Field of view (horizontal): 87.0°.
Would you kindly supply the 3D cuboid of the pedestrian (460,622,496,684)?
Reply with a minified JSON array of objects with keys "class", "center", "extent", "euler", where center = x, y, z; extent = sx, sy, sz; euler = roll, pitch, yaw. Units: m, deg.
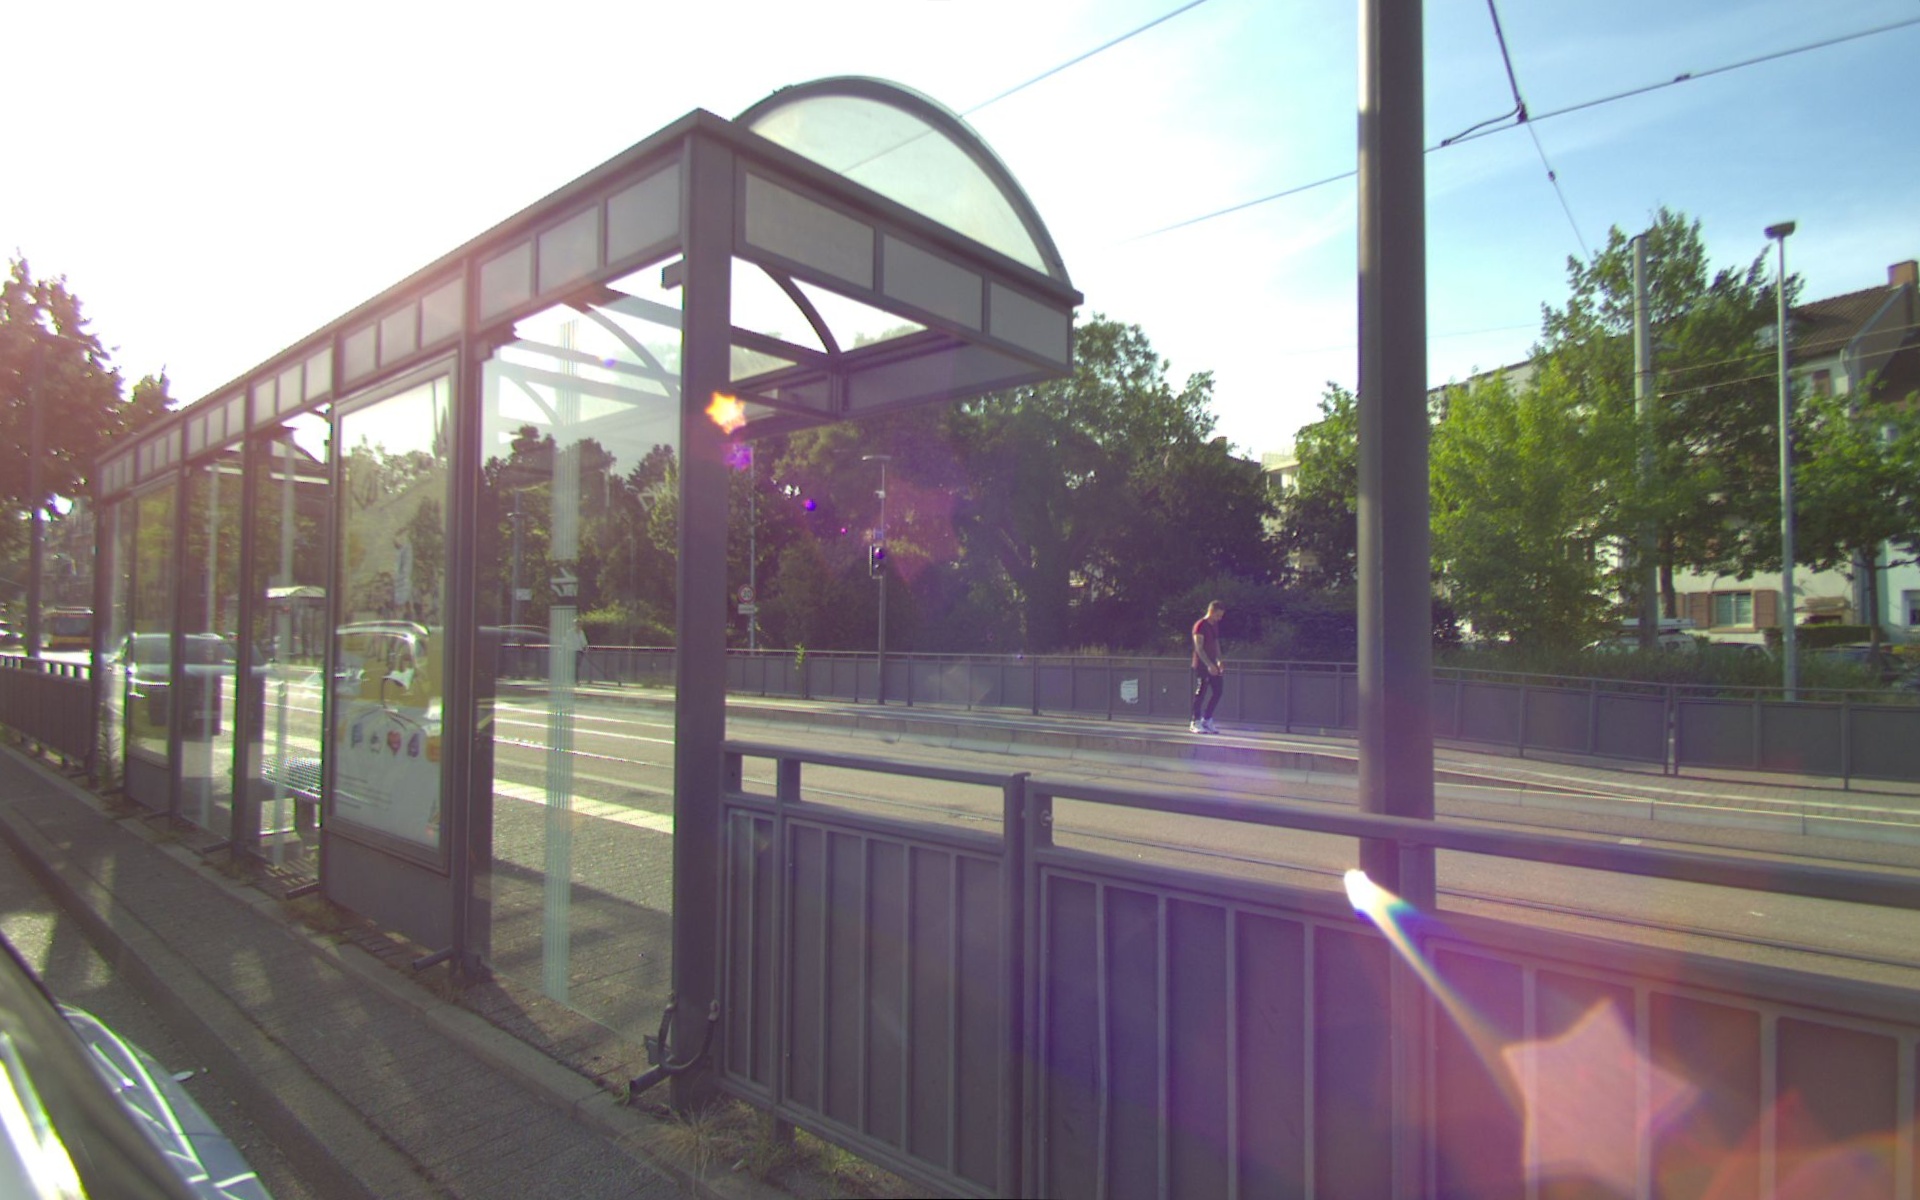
[{"class":"pedestrian","center":[-13.633,1.505,28.631],"extent":[0.618,1.697,0.613],"euler":[-2,-6,41]}]

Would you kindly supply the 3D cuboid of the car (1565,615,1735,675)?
[{"class":"car","center":[18.396,1.207,26.991],"extent":[3.930,1.497,1.854],"euler":[1,-3,-22]}]

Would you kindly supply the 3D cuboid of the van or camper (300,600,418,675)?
[{"class":"van or camper","center":[-25.899,1.536,43.498],"extent":[6.408,2.990,2.494],"euler":[-1,0,41]}]

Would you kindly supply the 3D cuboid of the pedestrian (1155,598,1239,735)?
[{"class":"pedestrian","center":[3.051,0.853,13.030],"extent":[0.877,1.697,0.547],"euler":[-2,-6,41]}]

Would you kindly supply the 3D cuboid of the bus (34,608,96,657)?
[{"class":"bus","center":[-68.421,2.417,77.294],"extent":[9.257,3.461,2.405],"euler":[-1,0,41]}]

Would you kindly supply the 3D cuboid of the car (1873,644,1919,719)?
[{"class":"car","center":[20.083,1.606,20.223],"extent":[3.935,1.409,2.004],"euler":[2,-3,-37]}]

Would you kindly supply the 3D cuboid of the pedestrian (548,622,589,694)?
[{"class":"pedestrian","center":[-9.455,1.405,24.455],"extent":[0.618,1.697,0.613],"euler":[-2,-6,41]}]
